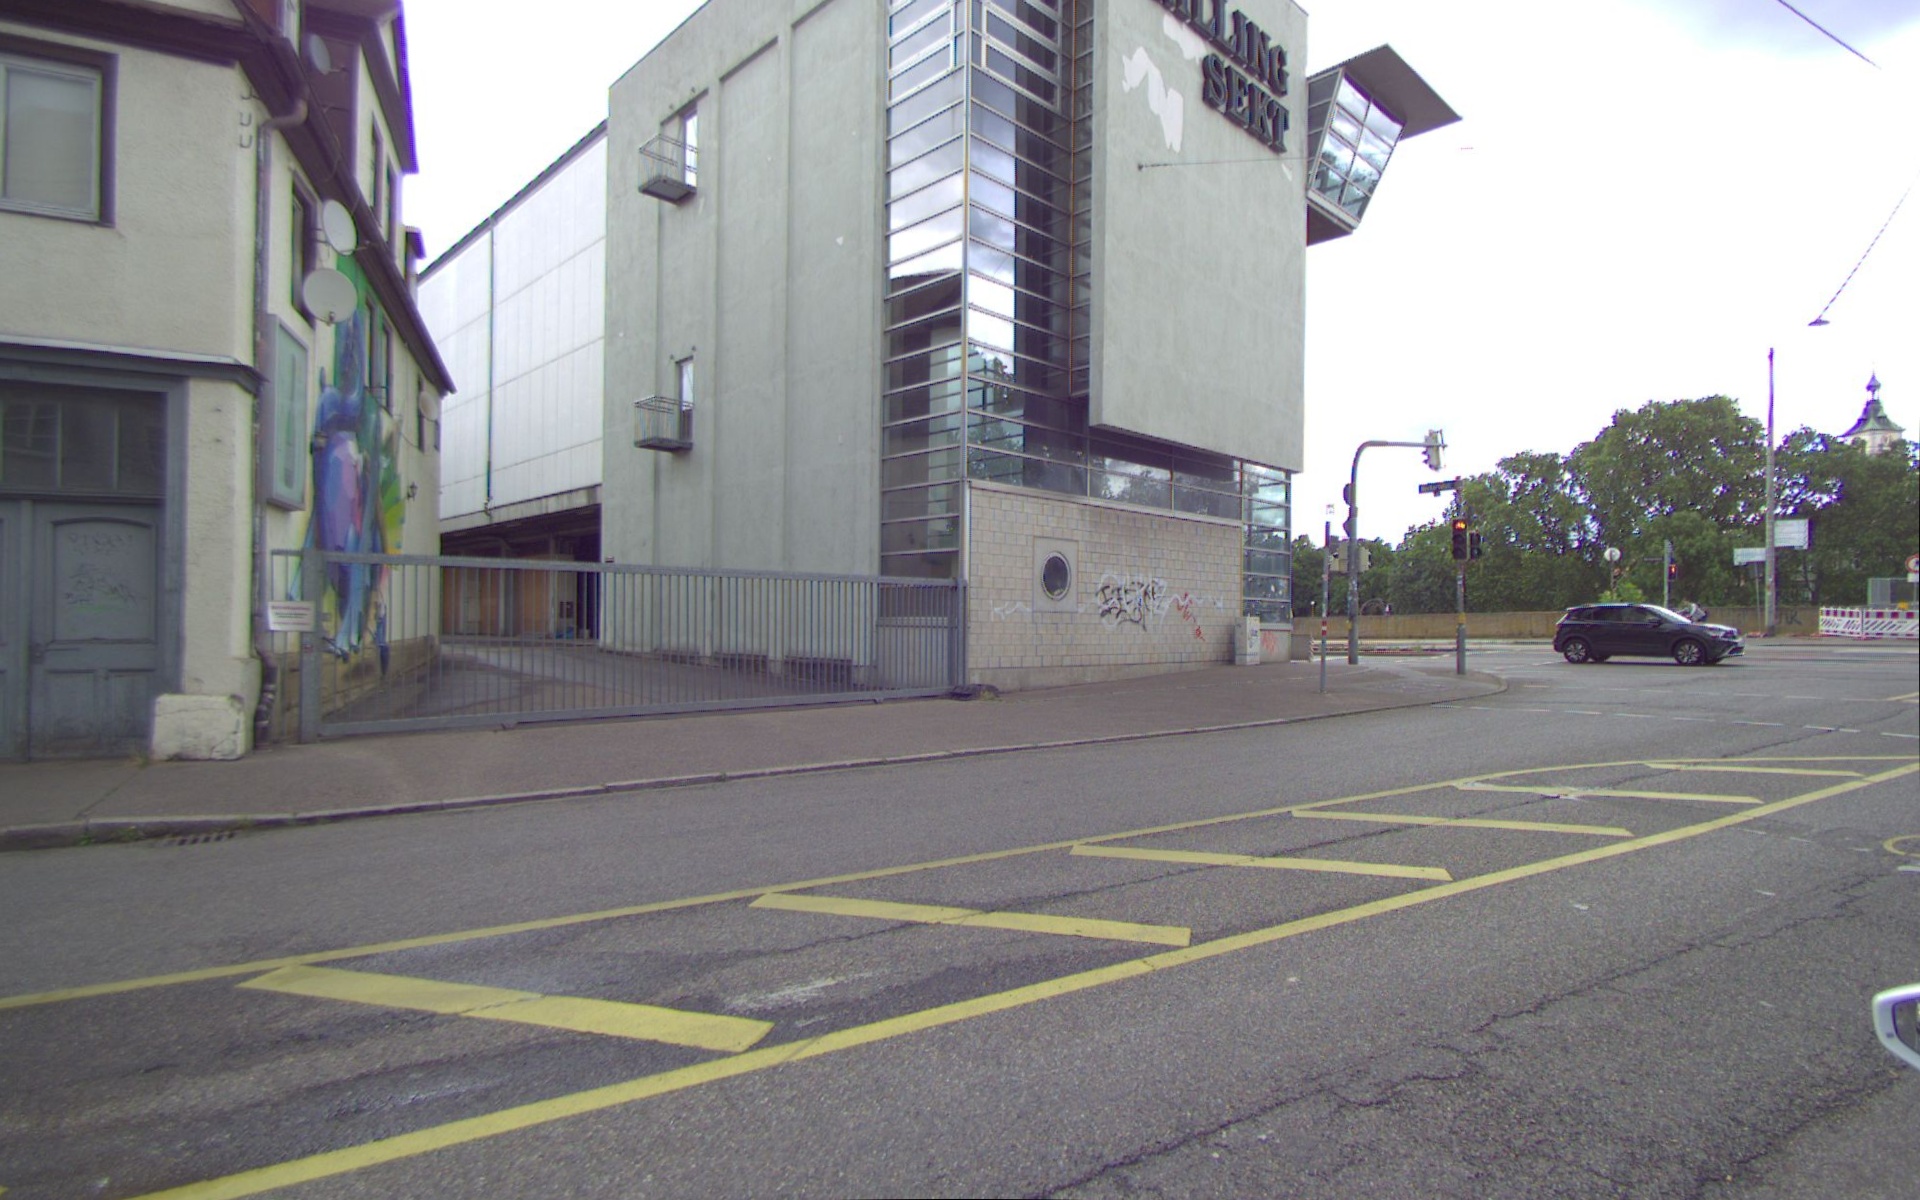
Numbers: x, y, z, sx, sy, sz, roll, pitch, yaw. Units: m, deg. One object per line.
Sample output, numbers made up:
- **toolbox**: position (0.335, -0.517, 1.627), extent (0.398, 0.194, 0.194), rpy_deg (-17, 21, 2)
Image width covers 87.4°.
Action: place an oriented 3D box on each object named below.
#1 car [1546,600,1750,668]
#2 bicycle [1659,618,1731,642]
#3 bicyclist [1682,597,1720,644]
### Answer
- **car**: position (17.884, 0.866, 26.255), extent (1.812, 1.594, 4.038), rpy_deg (-1, -1, -38)
- **bicycle**: position (28.474, 1.156, 38.955), extent (2.096, 0.904, 0.760), rpy_deg (-1, 0, 20)
- **bicyclist**: position (28.673, 0.783, 38.874), extent (0.985, 1.767, 0.755), rpy_deg (0, 0, 20)
